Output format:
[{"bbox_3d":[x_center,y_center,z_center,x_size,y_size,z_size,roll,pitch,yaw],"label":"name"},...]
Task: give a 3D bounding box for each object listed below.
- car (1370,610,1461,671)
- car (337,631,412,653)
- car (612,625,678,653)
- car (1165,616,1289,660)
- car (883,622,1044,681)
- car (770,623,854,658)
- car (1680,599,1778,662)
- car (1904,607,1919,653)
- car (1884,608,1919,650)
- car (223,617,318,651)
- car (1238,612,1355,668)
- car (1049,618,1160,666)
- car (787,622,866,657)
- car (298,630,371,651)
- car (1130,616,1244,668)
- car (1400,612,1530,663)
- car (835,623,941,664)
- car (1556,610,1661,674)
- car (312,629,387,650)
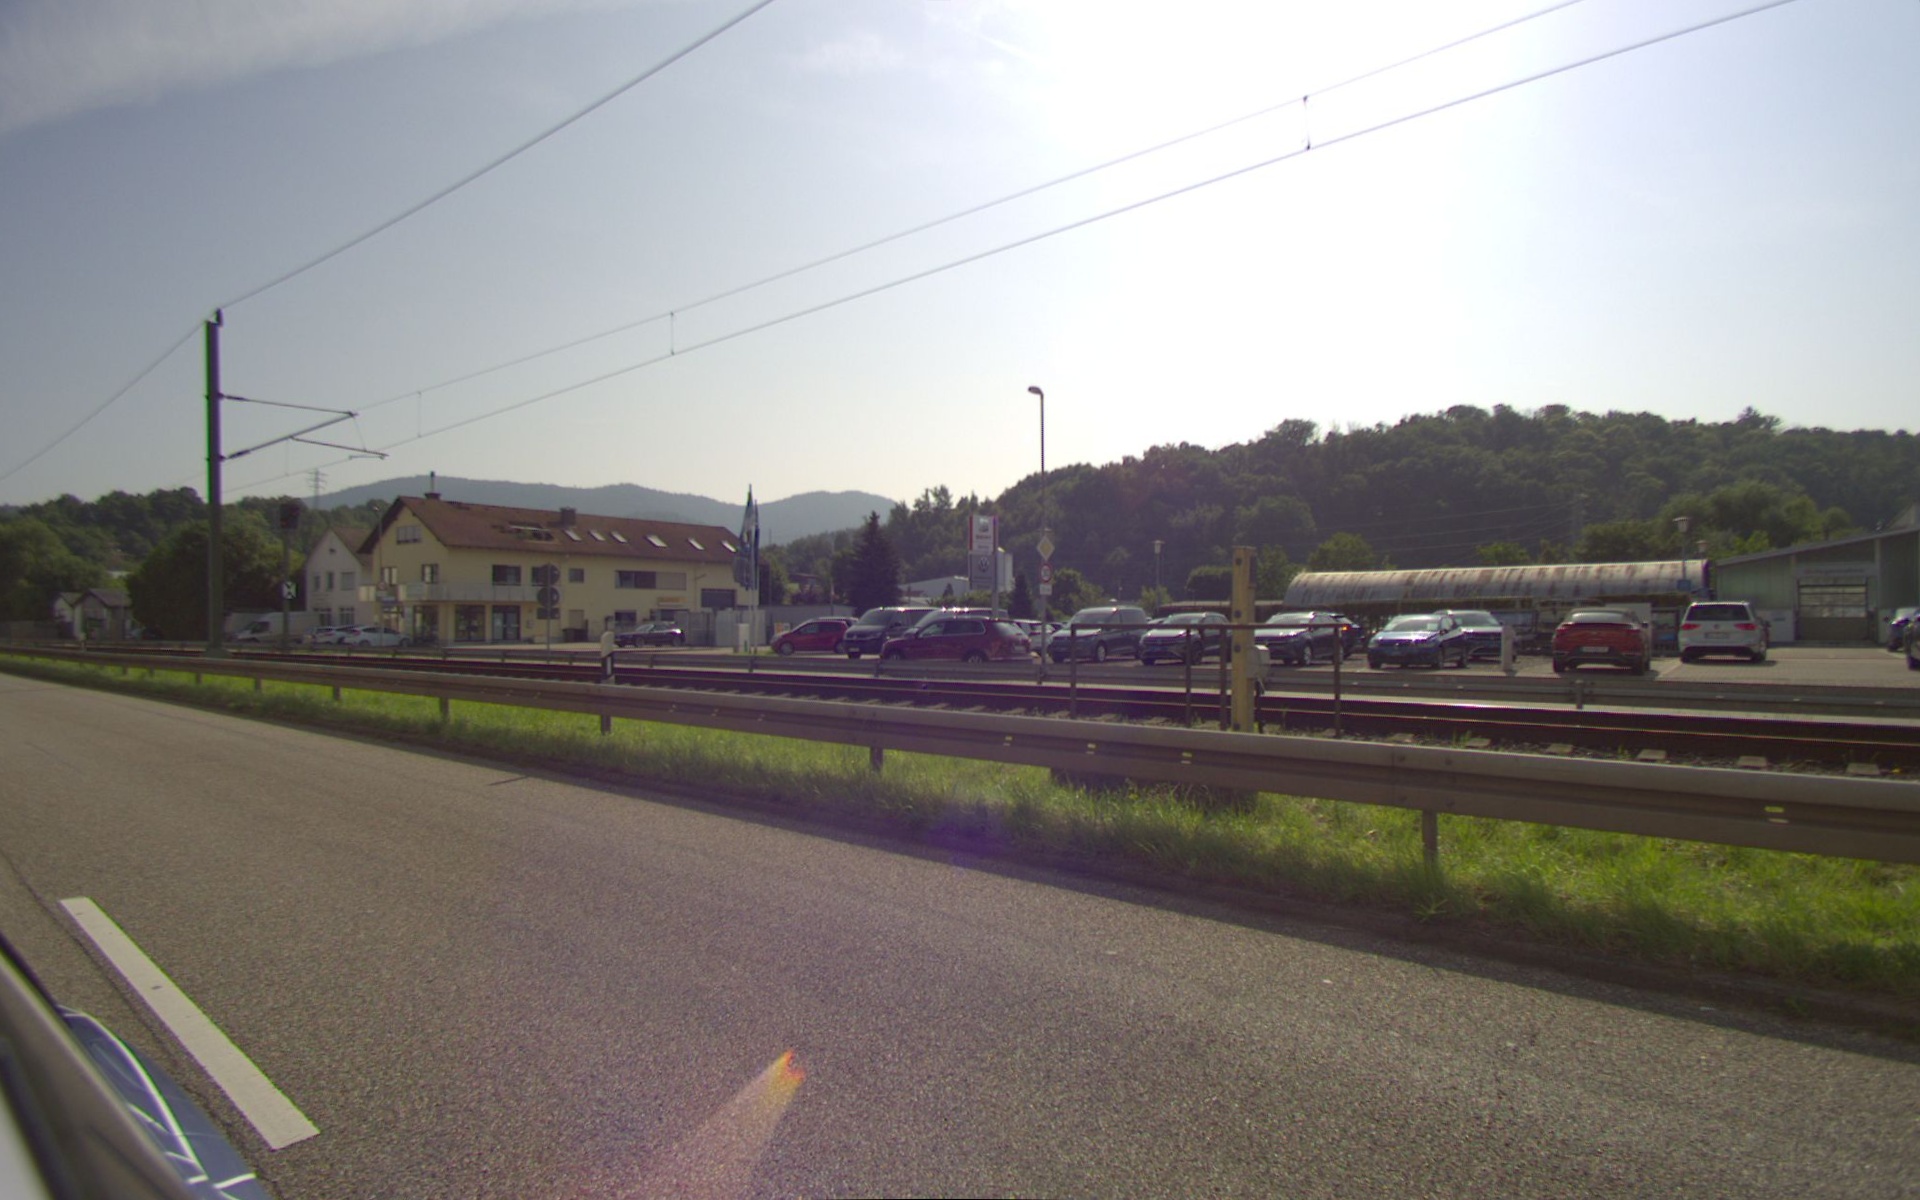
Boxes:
[{"bbox_3d":[12.089,1.055,26.743,1.754,1.471,3.958,-1,-2,30],"label":"car"},{"bbox_3d":[-37.098,2.626,64.234,1.645,1.309,3.811,-2,-2,36],"label":"car"},{"bbox_3d":[-18.620,2.278,59.869,3.486,1.588,1.654,1,-2,-28],"label":"car"},{"bbox_3d":[9.502,1.348,36.029,3.981,1.471,1.744,-1,-2,28],"label":"car"},{"bbox_3d":[0.060,1.348,27.094,3.991,1.471,1.839,-2,-2,36],"label":"car"},{"bbox_3d":[-6.512,1.770,44.372,3.488,1.471,1.653,0,-2,-13],"label":"car"},{"bbox_3d":[21.062,0.813,27.836,1.996,1.593,3.951,-2,-2,36],"label":"car"},{"bbox_3d":[30.032,0.892,30.480,1.858,1.385,3.950,-2,-2,37],"label":"car"},{"bbox_3d":[33.116,0.982,34.566,1.858,1.385,3.950,-2,-2,37],"label":"car"},{"bbox_3d":[-51.919,2.533,76.309,2.234,2.435,5.517,-2,-2,38],"label":"car"},{"bbox_3d":[9.643,1.125,28.837,1.760,1.471,3.945,-2,-2,41],"label":"car"},{"bbox_3d":[4.800,1.359,33.319,1.760,1.471,3.945,-2,-2,41],"label":"car"},{"bbox_3d":[-6.262,1.825,47.344,3.488,1.588,1.653,0,-2,-13],"label":"car"},{"bbox_3d":[-41.608,2.663,67.329,1.645,1.309,3.811,-2,-2,36],"label":"car"},{"bbox_3d":[7.031,1.265,31.113,1.760,1.471,3.945,-2,-2,41],"label":"car"},{"bbox_3d":[15.444,1.146,31.219,1.734,1.471,4.004,0,-2,-5],"label":"car"},{"bbox_3d":[-2.677,1.610,38.382,1.760,1.471,3.945,-2,-2,41],"label":"car"},{"bbox_3d":[15.431,0.977,24.010,1.857,1.385,3.951,-2,-2,36],"label":"car"},{"bbox_3d":[-39.528,2.543,65.571,1.645,1.309,3.811,-2,-2,36],"label":"car"}]
